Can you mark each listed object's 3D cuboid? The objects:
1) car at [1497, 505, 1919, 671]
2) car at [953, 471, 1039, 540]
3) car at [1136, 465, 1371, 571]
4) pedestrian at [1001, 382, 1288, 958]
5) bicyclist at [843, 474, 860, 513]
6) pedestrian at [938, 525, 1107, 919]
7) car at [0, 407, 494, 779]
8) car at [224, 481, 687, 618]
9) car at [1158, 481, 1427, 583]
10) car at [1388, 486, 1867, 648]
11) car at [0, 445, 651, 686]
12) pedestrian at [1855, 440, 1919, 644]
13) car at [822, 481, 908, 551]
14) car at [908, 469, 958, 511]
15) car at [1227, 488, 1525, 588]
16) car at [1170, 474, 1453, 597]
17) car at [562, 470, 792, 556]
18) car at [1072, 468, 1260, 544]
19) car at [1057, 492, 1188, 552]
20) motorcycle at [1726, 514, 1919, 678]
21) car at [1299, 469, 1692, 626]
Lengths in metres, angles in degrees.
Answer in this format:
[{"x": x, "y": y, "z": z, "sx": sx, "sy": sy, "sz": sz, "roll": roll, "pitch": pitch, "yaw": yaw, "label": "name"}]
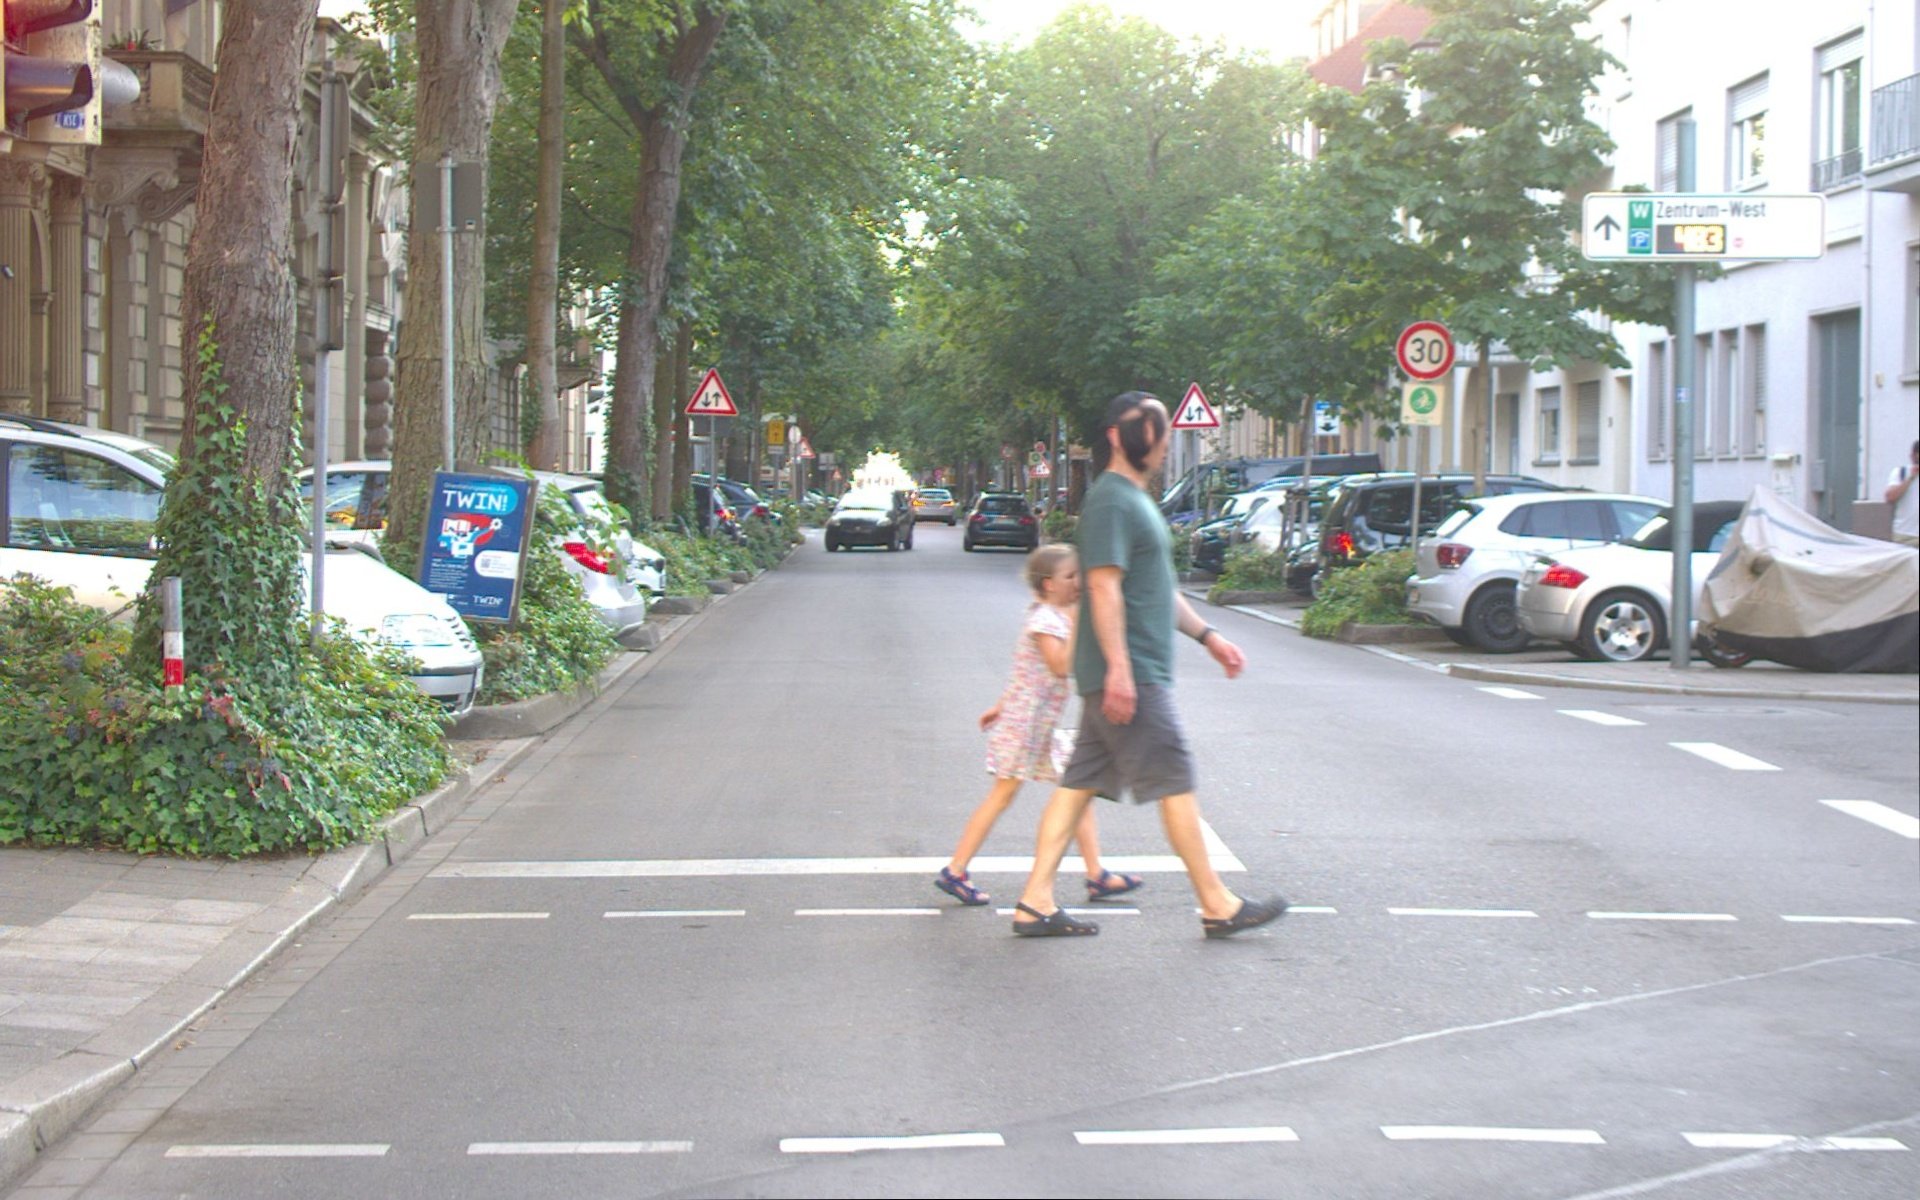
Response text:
[{"x": 6.642, "y": -0.122, "z": 28.758, "sx": 4.014, "sy": 1.338, "sz": 1.707, "roll": 0, "pitch": 2, "yaw": 0, "label": "car"}, {"x": 0.850, "y": -2.300, "z": 83.256, "sx": 1.825, "sy": 1.556, "sz": 4.028, "roll": 2, "pitch": 2, "yaw": -2, "label": "car"}, {"x": 5.245, "y": -1.476, "z": 61.814, "sx": 4.014, "sy": 1.823, "sz": 1.707, "roll": 1, "pitch": 2, "yaw": -1, "label": "car"}, {"x": 0.602, "y": 0.206, "z": 11.225, "sx": 0.888, "sy": 1.809, "sz": 0.794, "roll": 0, "pitch": 2, "yaw": 3, "label": "pedestrian"}, {"x": -4.210, "y": -4.130, "z": 133.286, "sx": 0.571, "sy": 1.464, "sz": 0.643, "roll": 1, "pitch": 1, "yaw": -7, "label": "bicyclist"}, {"x": 0.223, "y": 0.412, "z": 12.017, "sx": 0.539, "sy": 1.331, "sz": 0.506, "roll": 1, "pitch": 2, "yaw": 4, "label": "pedestrian"}, {"x": -4.770, "y": -0.064, "z": 17.829, "sx": 4.547, "sy": 1.828, "sz": 1.833, "roll": 0, "pitch": 2, "yaw": -4, "label": "car"}, {"x": -5.168, "y": -0.538, "z": 35.663, "sx": 4.547, "sy": 1.367, "sz": 1.833, "roll": 0, "pitch": 2, "yaw": 0, "label": "car"}, {"x": 5.211, "y": -1.080, "z": 54.209, "sx": 4.014, "sy": 1.524, "sz": 1.707, "roll": 1, "pitch": 2, "yaw": -1, "label": "car"}, {"x": 6.027, "y": -0.320, "z": 31.353, "sx": 4.014, "sy": 1.437, "sz": 1.707, "roll": 0, "pitch": 2, "yaw": -1, "label": "car"}, {"x": -4.623, "y": -0.274, "z": 25.251, "sx": 4.547, "sy": 1.683, "sz": 1.833, "roll": 0, "pitch": 2, "yaw": 0, "label": "car"}, {"x": 8.704, "y": -0.534, "z": 31.373, "sx": 0.767, "sy": 1.835, "sz": 0.944, "roll": 1, "pitch": 2, "yaw": 0, "label": "pedestrian"}, {"x": -2.293, "y": -2.016, "z": 82.182, "sx": 1.903, "sy": 1.572, "sz": 3.992, "roll": 2, "pitch": 2, "yaw": -3, "label": "car"}, {"x": -1.093, "y": -4.403, "z": 137.660, "sx": 1.924, "sy": 1.654, "sz": 4.001, "roll": 0, "pitch": 2, "yaw": -1, "label": "car"}, {"x": 5.898, "y": -0.899, "z": 49.018, "sx": 4.014, "sy": 1.404, "sz": 1.707, "roll": 0, "pitch": 2, "yaw": -1, "label": "car"}, {"x": 5.220, "y": -0.977, "z": 51.353, "sx": 4.014, "sy": 1.809, "sz": 1.707, "roll": 0, "pitch": 2, "yaw": -1, "label": "car"}, {"x": -5.766, "y": -1.790, "z": 70.376, "sx": 4.547, "sy": 1.685, "sz": 1.833, "roll": 1, "pitch": 2, "yaw": 0, "label": "car"}, {"x": 4.564, "y": -2.097, "z": 76.461, "sx": 4.014, "sy": 1.596, "sz": 1.707, "roll": 1, "pitch": 2, "yaw": -1, "label": "car"}, {"x": 5.143, "y": -2.478, "z": 109.176, "sx": 4.014, "sy": 1.823, "sz": 1.707, "roll": 1, "pitch": 2, "yaw": -1, "label": "car"}, {"x": 6.636, "y": -0.040, "z": 25.509, "sx": 1.800, "sy": 1.195, "sz": 0.613, "roll": 0, "pitch": 2, "yaw": 8, "label": "motorcycle"}, {"x": 5.826, "y": -0.589, "z": 37.730, "sx": 4.014, "sy": 1.684, "sz": 1.707, "roll": 0, "pitch": 2, "yaw": -1, "label": "car"}]
